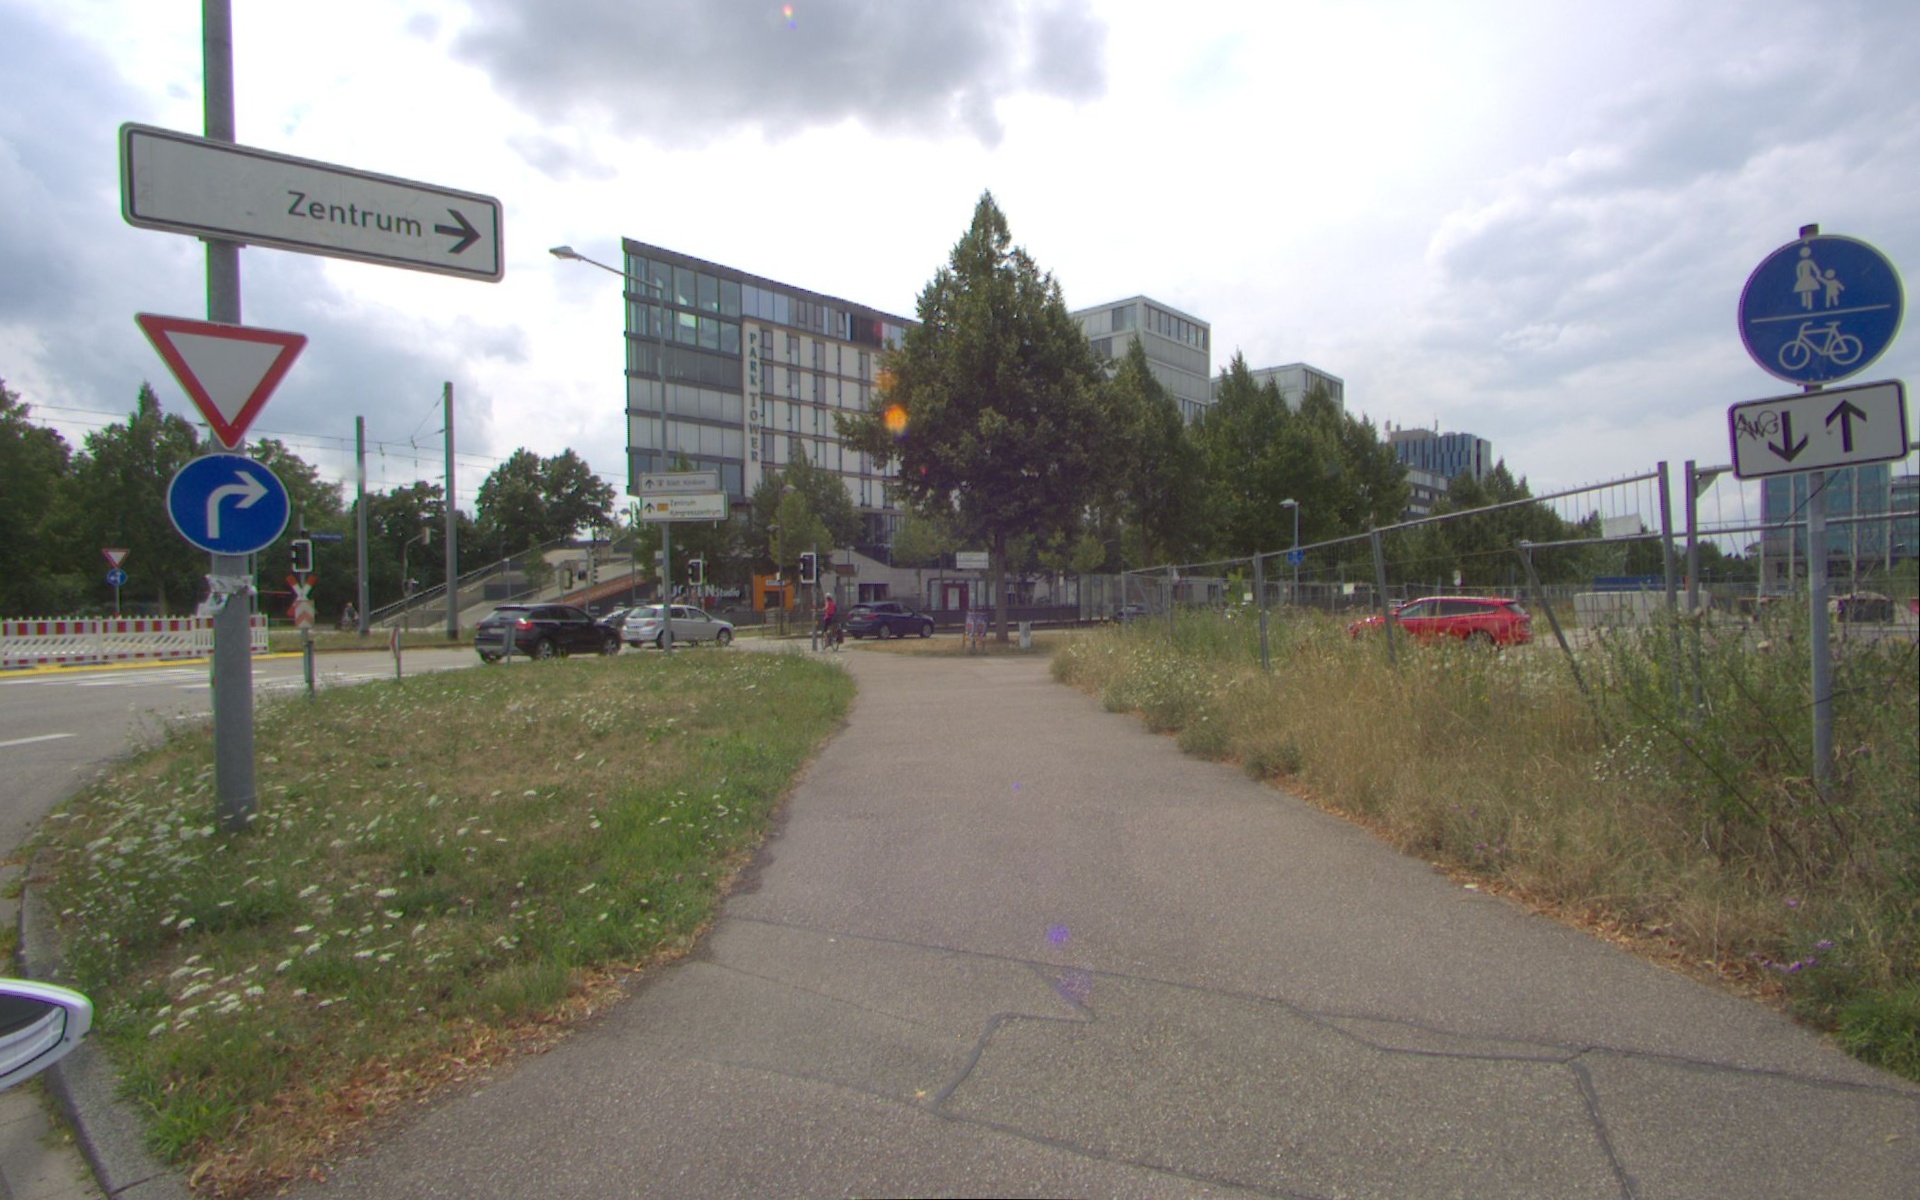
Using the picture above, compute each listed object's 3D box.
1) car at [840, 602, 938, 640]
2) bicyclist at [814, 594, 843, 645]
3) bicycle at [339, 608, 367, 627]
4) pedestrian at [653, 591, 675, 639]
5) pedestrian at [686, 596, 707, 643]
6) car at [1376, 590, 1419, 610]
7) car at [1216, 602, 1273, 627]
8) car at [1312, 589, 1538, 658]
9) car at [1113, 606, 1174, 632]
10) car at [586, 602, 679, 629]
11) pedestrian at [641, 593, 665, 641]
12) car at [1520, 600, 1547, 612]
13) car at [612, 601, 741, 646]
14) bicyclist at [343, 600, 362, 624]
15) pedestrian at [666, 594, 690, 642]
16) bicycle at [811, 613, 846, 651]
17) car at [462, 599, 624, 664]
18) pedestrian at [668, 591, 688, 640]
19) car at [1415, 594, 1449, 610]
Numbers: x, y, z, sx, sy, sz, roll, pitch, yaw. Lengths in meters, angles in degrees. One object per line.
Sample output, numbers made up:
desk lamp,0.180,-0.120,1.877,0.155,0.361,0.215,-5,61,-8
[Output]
car,-3.024,0.867,43.453,1.712,1.554,4.337,0,0,41
bicyclist,-4.340,0.646,33.055,0.778,1.649,1.047,-1,1,-18
bicycle,-33.007,0.943,54.409,1.732,1.020,0.650,0,0,34
pedestrian,-11.405,0.575,38.621,0.546,1.805,0.629,1,1,37
pedestrian,-10.236,0.736,38.845,0.546,1.805,0.576,1,1,37
car,36.975,0.055,84.502,1.978,1.639,4.712,0,0,42
car,18.059,0.910,63.460,1.782,1.517,4.223,0,0,43
car,11.929,0.582,25.871,5.072,1.625,1.777,0,0,37
car,10.925,1.103,59.352,1.780,1.517,4.084,0,0,40
car,-18.264,0.844,55.960,1.829,1.477,4.696,1,0,43
pedestrian,-11.624,0.653,37.957,0.546,1.805,0.685,1,1,37
car,68.713,0.677,119.956,1.978,1.392,3.966,0,0,42
car,-9.766,0.772,34.795,1.804,1.482,4.237,0,0,33
bicyclist,-33.024,0.645,54.433,0.665,1.334,0.636,1,1,33
pedestrian,-10.809,0.677,38.388,0.546,1.805,0.685,1,1,37
bicycle,-4.388,1.040,33.211,0.778,1.183,2.037,-1,0,-19
car,-10.637,0.757,25.890,1.709,1.539,4.142,0,0,15
pedestrian,-11.020,0.588,39.098,0.546,1.887,0.527,1,1,37
car,48.435,0.234,102.718,1.977,1.639,4.713,0,0,41
